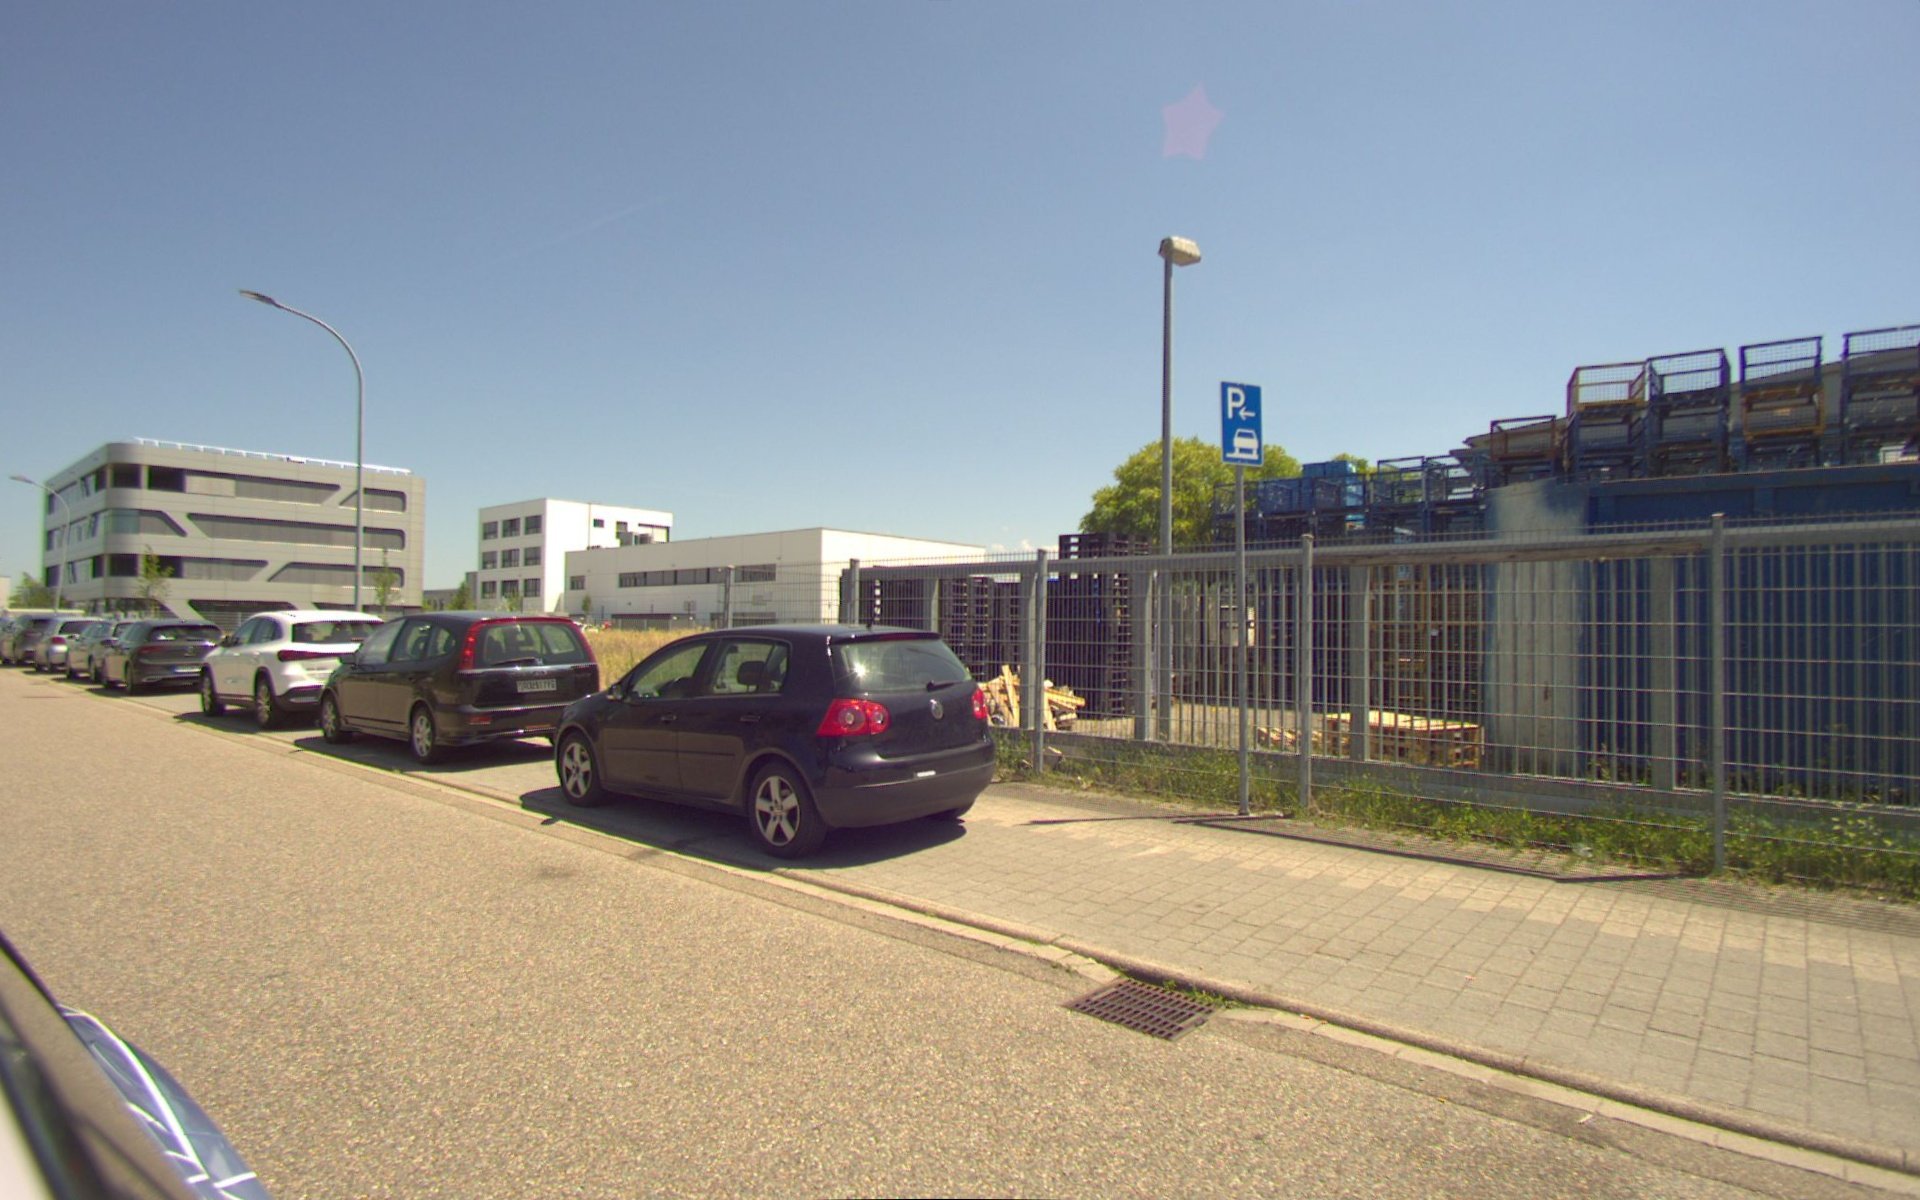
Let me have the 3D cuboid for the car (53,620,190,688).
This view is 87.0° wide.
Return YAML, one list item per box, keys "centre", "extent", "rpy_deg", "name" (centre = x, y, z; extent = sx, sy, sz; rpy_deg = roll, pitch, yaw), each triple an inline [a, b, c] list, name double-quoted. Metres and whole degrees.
- centre: [-20.415, 1.251, 24.571]
  extent: [4.812, 1.492, 1.757]
  rpy_deg: [-1, -1, 40]
  name: "car"

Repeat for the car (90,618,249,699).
- centre: [-16.428, 1.137, 20.958]
  extent: [4.227, 1.492, 1.838]
  rpy_deg: [-1, -1, 41]
  name: "car"

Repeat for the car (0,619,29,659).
- centre: [-38.886, 1.550, 40.599]
  extent: [4.377, 1.529, 1.745]
  rpy_deg: [-1, -1, 41]
  name: "car"

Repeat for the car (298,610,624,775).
- centre: [-5.926, 0.913, 11.766]
  extent: [4.498, 1.568, 1.751]
  rpy_deg: [-1, -1, 40]
  name: "car"

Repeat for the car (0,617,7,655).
- centre: [-44.457, 1.625, 45.591]
  extent: [3.765, 1.669, 1.769]
  rpy_deg: [-1, -2, 40]
  name: "car"

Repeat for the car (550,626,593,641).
- centre: [-42.623, 3.691, 111.106]
  extent: [1.917, 1.597, 3.954]
  rpy_deg: [-1, -3, 34]
  name: "car"

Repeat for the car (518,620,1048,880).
- centre: [-1.580, 0.894, 7.885]
  extent: [4.331, 1.472, 1.750]
  rpy_deg: [-1, -1, 41]
  name: "car"

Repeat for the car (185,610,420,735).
- centre: [-9.864, 0.962, 15.058]
  extent: [4.356, 1.604, 1.751]
  rpy_deg: [-1, -1, 40]
  name: "car"

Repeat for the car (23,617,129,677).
- centre: [-24.486, 1.256, 27.992]
  extent: [3.732, 1.537, 1.676]
  rpy_deg: [-1, -1, 40]
  name: "car"

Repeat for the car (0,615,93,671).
- centre: [-28.555, 1.291, 31.436]
  extent: [4.459, 1.619, 1.772]
  rpy_deg: [-1, -1, 40]
  name: "car"

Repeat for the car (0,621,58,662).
- centre: [-34.972, 1.506, 37.395]
  extent: [4.195, 1.462, 1.746]
  rpy_deg: [-1, -1, 38]
  name: "car"
